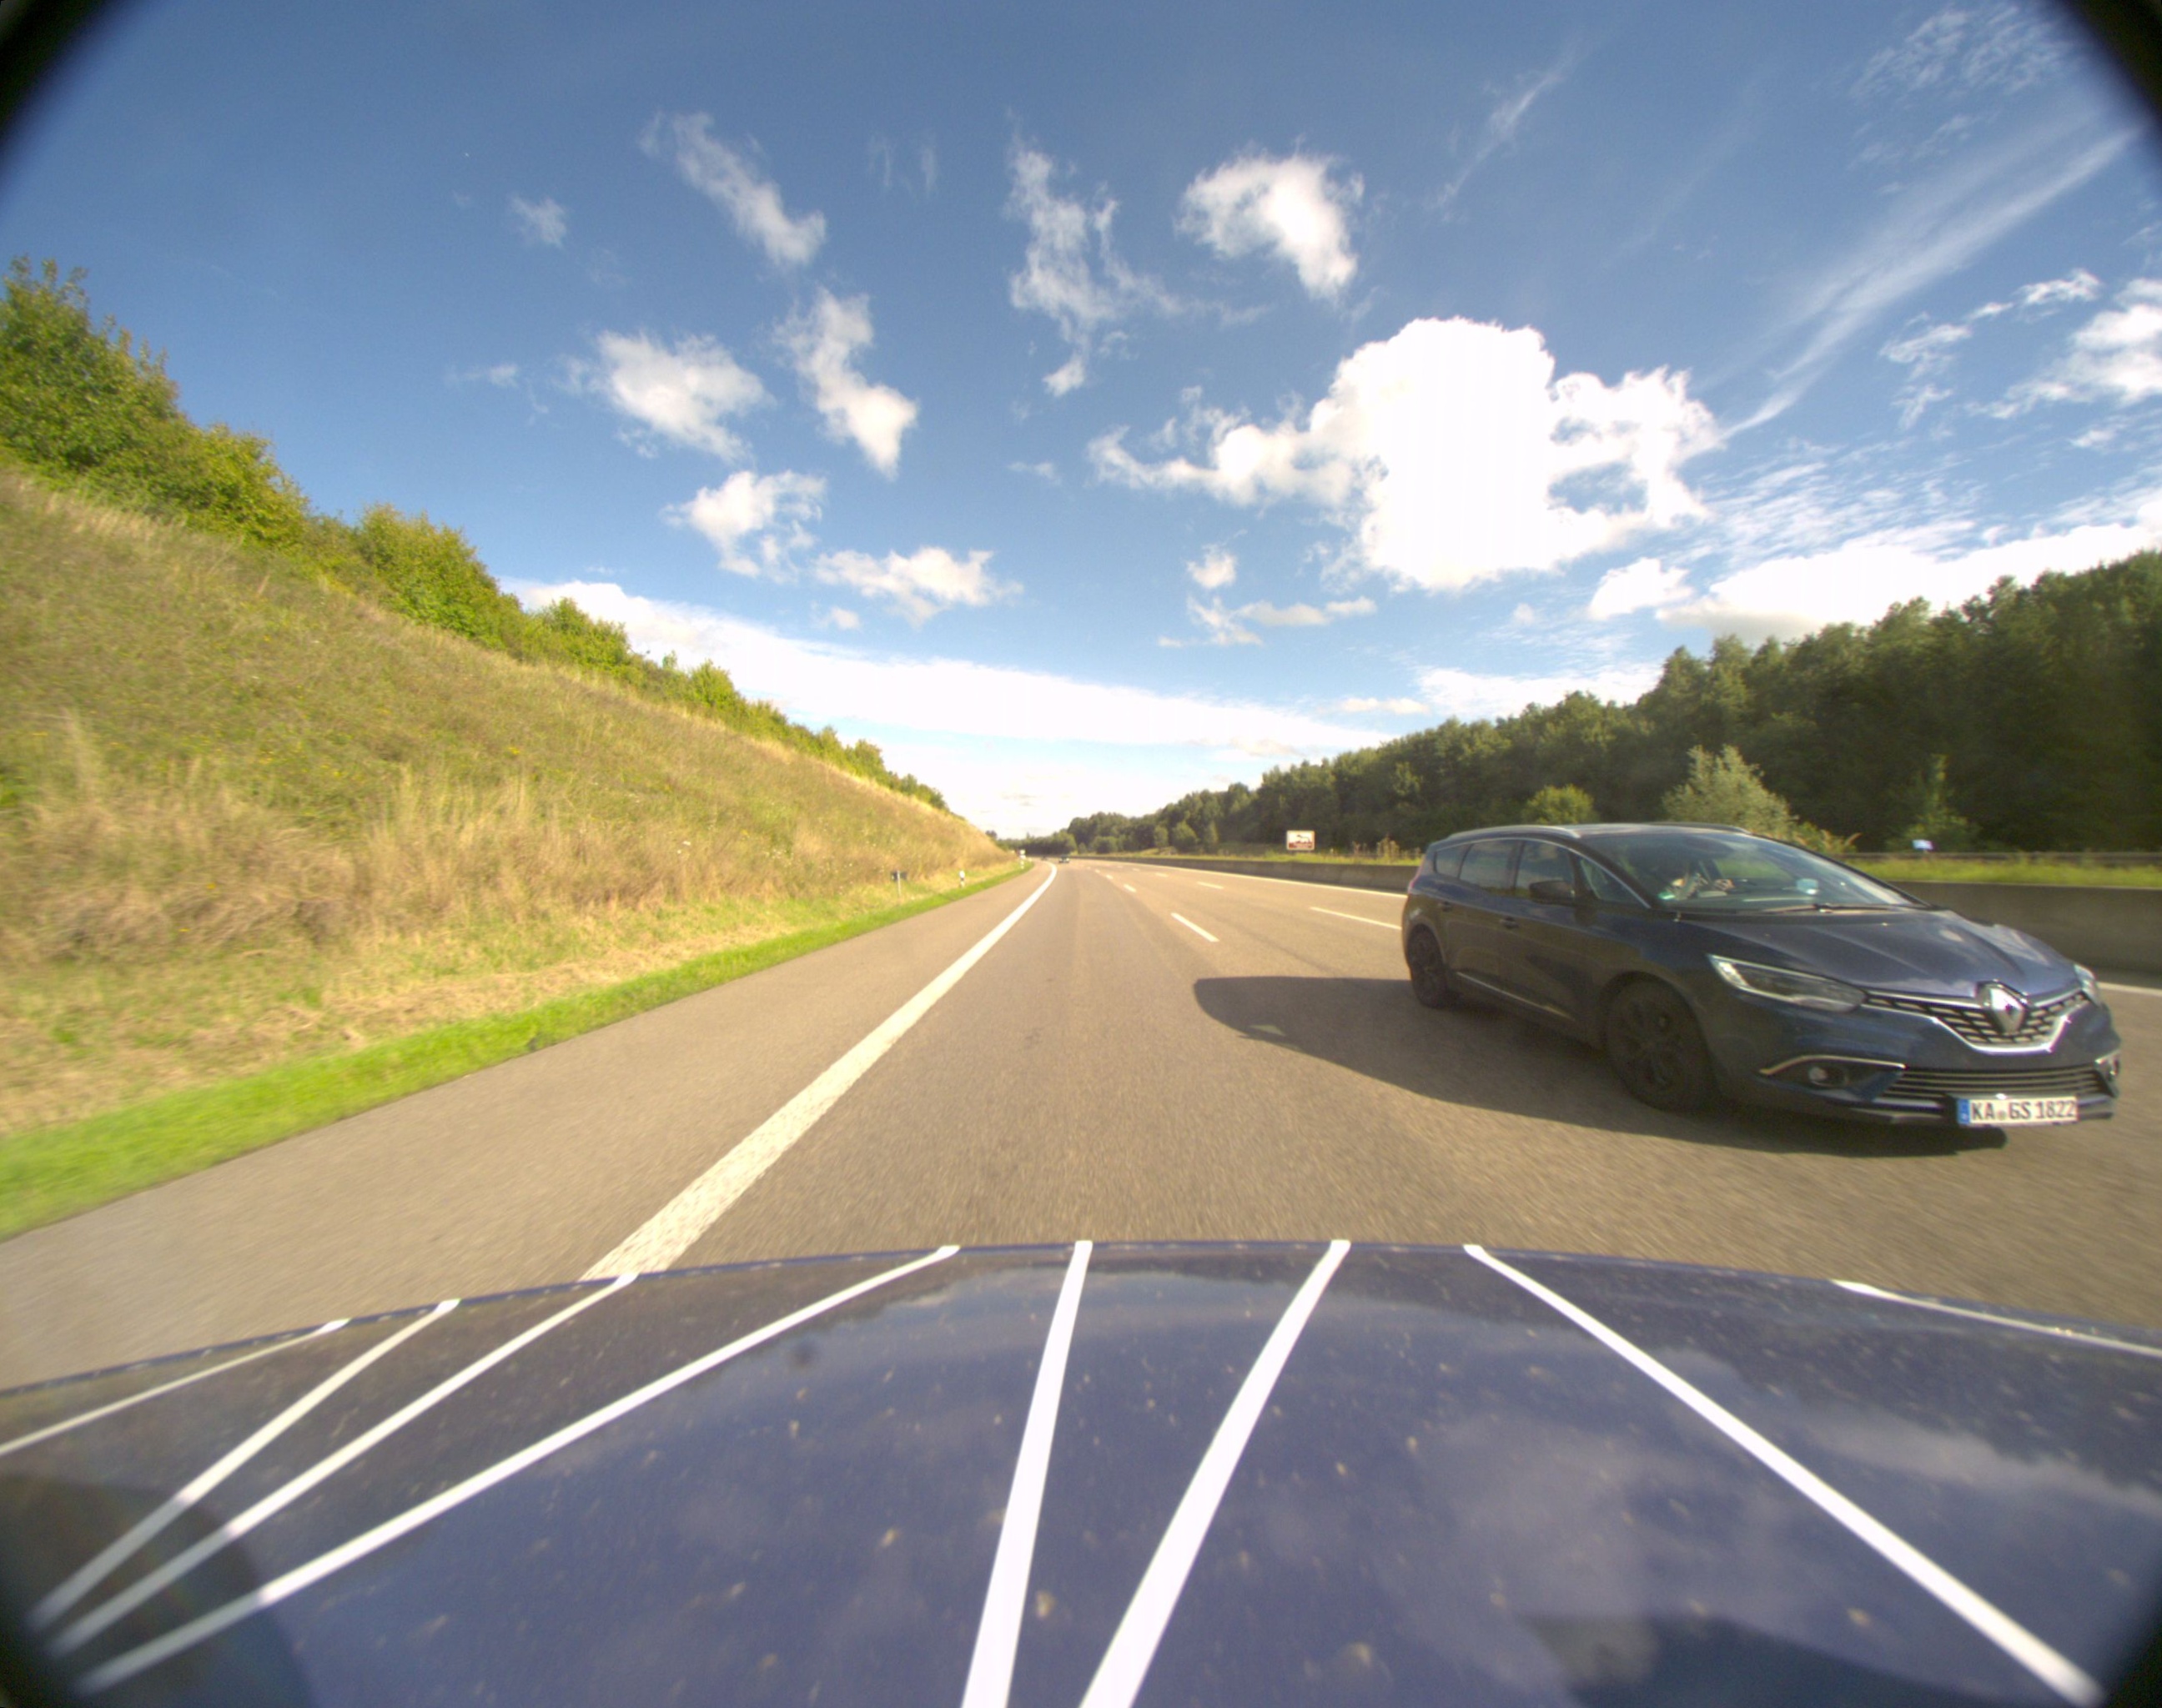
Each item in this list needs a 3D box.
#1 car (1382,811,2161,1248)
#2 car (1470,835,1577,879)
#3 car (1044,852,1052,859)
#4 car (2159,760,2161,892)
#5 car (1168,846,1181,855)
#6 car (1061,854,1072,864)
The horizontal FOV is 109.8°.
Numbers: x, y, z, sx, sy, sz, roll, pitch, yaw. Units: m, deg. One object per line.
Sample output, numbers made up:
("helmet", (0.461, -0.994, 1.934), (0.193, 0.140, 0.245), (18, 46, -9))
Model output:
("car", (4.038, 0.676, 5.295), (1.999, 1.697, 4.528), (-2, 0, -1))
("car", (16.364, 0.102, 28.301), (1.893, 1.498, 3.574), (-2, 0, 0))
("car", (-9.640, 0.325, 221.802), (2.000, 2.002, 3.997), (-3, 1, -7))
("car", (23.075, -0.590, 12.508), (2.275, 2.668, 5.887), (-2, 0, -1))
("car", (18.690, -0.629, 152.185), (1.999, 1.737, 4.049), (-2, 1, -1))
("car", (-2.683, 0.892, 142.886), (1.999, 1.827, 3.998), (-2, 1, -1))
